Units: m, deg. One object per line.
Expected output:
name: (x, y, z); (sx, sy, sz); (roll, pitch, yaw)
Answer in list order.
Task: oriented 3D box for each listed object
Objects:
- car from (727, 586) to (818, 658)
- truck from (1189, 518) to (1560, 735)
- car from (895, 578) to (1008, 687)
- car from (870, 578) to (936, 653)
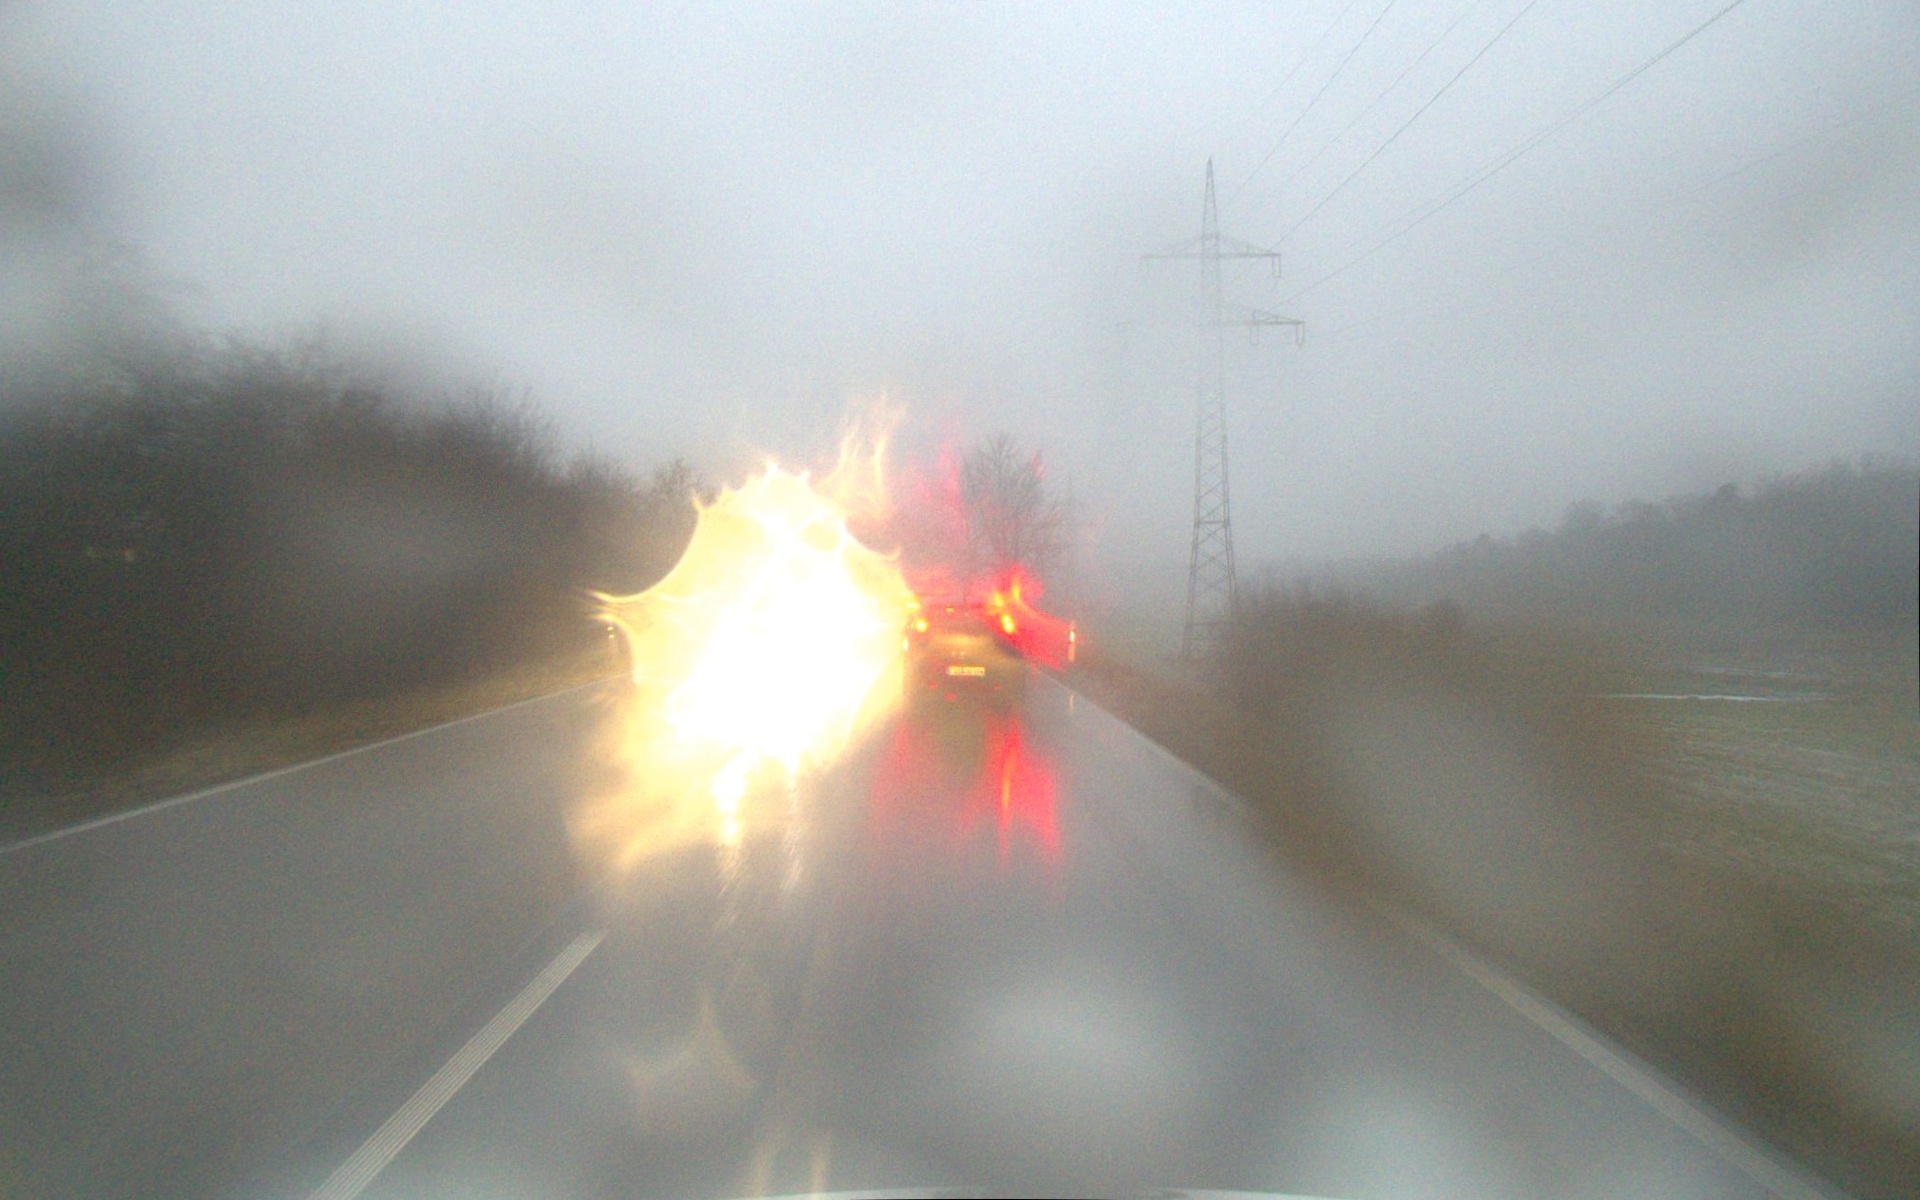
car: (-4.234, 0.455, 37.880); (1.654, 1.533, 4.412); (1, 0, -1)
truck: (5.827, 0.322, 25.615); (2.454, 2.616, 10.798); (1, 0, -3)
car: (-0.138, 0.424, 23.379); (1.470, 1.423, 3.199); (1, 0, -1)
car: (-1.624, 0.421, 47.803); (1.815, 2.049, 3.999); (1, 0, -1)
